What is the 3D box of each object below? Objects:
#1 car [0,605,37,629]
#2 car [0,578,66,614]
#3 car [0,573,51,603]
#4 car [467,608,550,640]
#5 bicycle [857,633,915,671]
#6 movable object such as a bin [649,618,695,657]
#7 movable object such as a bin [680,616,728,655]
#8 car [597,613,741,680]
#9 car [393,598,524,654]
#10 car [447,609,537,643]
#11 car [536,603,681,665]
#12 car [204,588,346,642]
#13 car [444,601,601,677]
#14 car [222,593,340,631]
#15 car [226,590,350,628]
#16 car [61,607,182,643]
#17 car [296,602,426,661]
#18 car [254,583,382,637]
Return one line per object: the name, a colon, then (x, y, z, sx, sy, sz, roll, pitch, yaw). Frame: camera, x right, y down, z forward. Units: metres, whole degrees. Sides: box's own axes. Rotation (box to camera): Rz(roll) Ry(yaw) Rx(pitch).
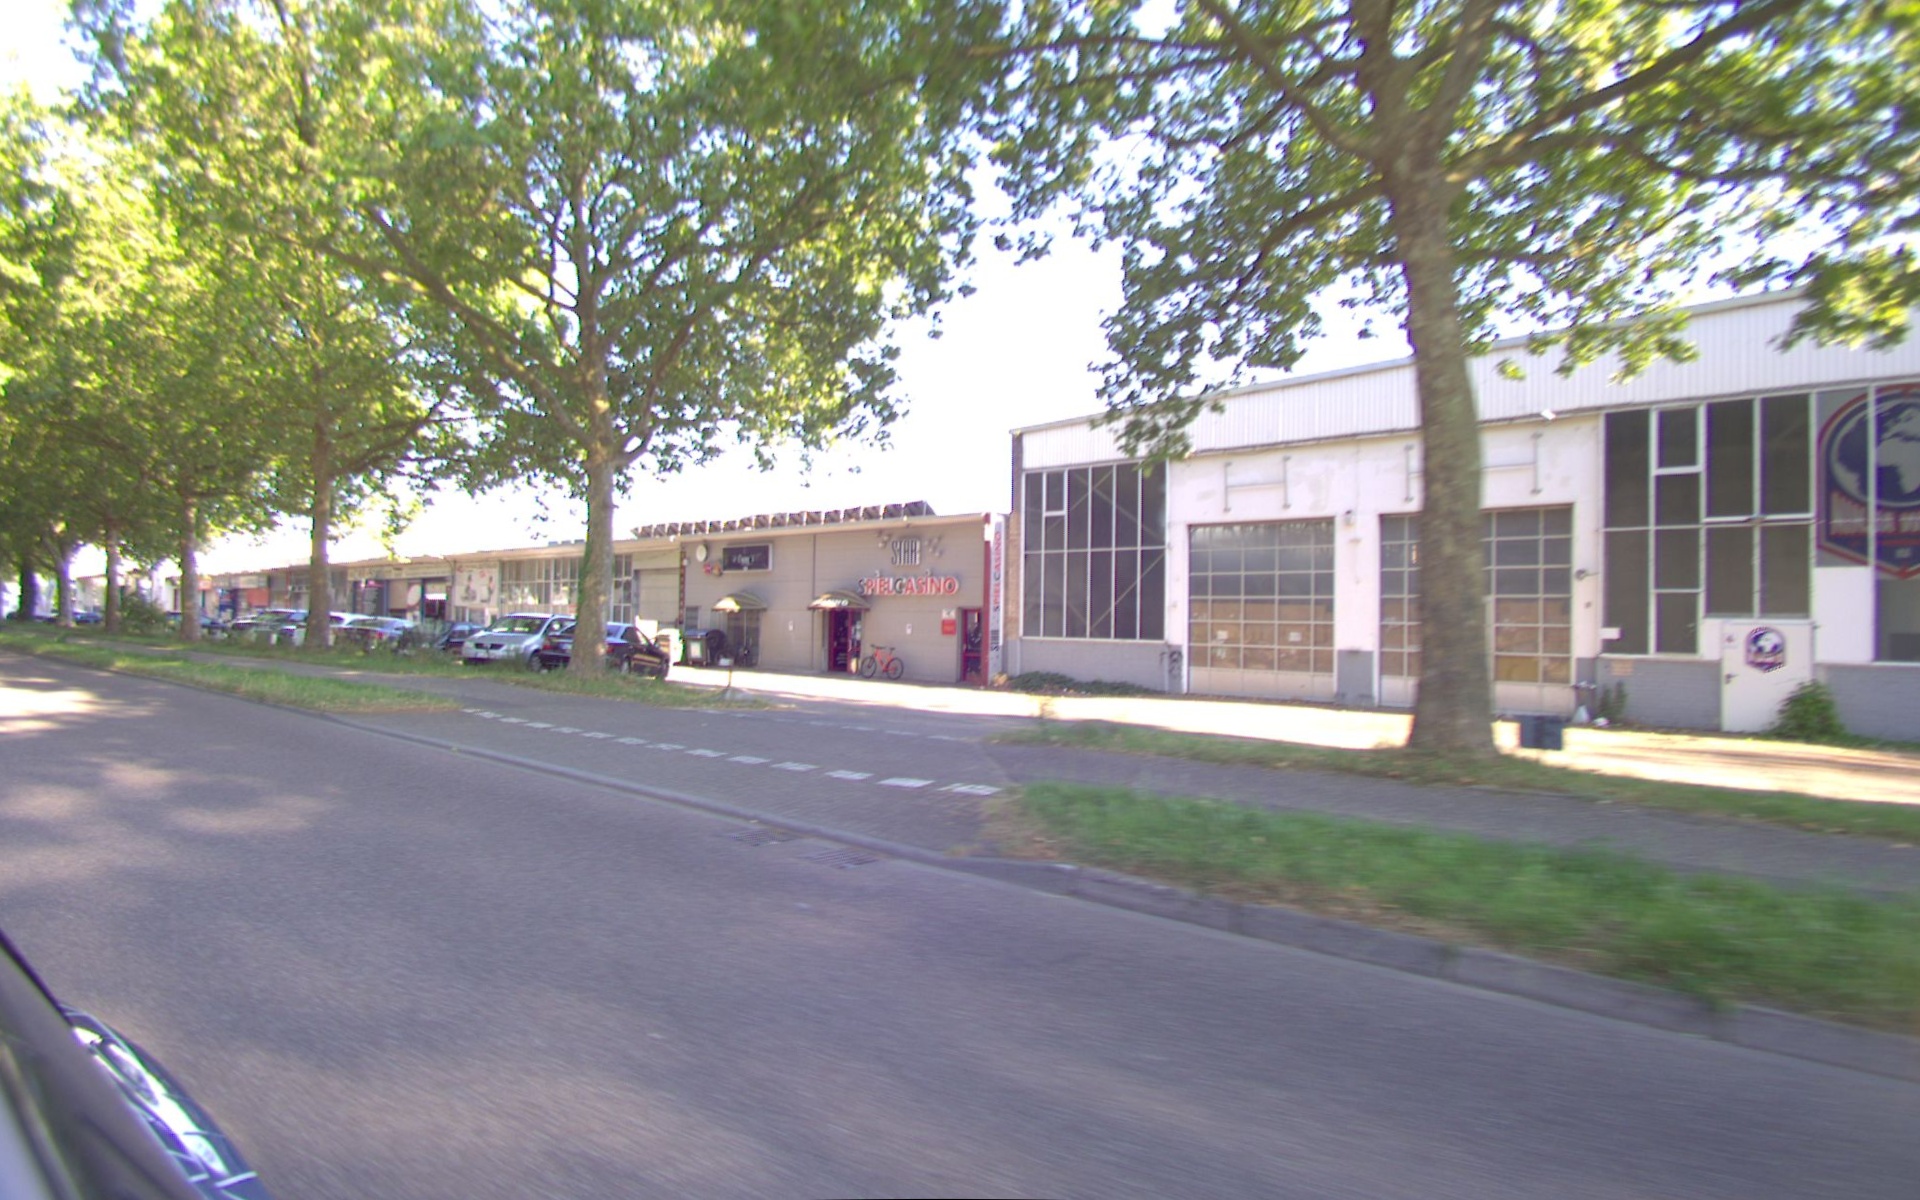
car: (-78.430, 1.370, 83.194, 1.967, 1.854, 4.259, 0, 1, -12)
car: (-86.943, -0.383, 92.990, 2.575, 2.875, 6.931, 1, -4, 12)
car: (-95.552, -1.255, 101.369, 2.574, 2.516, 6.303, 1, -4, 11)
car: (-20.615, 1.110, 46.327, 3.242, 1.395, 1.557, 0, 1, -14)
bicycle: (-2.460, 1.709, 33.445, 2.159, 1.066, 0.530, 1, 6, 42)
movable object such as a bin: (-11.429, 1.478, 40.160, 1.571, 1.442, 1.046, 1, 1, 39)
movable object such as a bin: (-10.061, 1.361, 39.749, 1.626, 1.442, 1.046, 1, 1, 39)
car: (-6.337, 0.969, 22.600, 1.972, 1.316, 4.484, 1, -1, 0)
car: (-16.234, 0.781, 33.035, 1.974, 1.641, 4.258, 1, 1, 4)
car: (-20.275, 1.115, 43.973, 3.244, 1.417, 1.713, 0, 1, -11)
car: (-8.357, 0.784, 24.507, 1.972, 1.316, 4.484, 1, -1, 0)
car: (-24.049, 0.469, 35.709, 1.977, 1.763, 3.989, 1, 1, 9)
car: (-11.327, 0.933, 26.567, 1.974, 1.743, 4.480, 1, 1, 4)
car: (-28.421, 0.454, 42.530, 1.973, 1.463, 4.259, 1, 1, 3)
car: (-26.349, 0.319, 39.875, 1.973, 1.392, 4.259, 1, 1, 3)
car: (-45.870, 1.323, 55.513, 1.983, 1.773, 4.872, 1, 1, 17)
car: (-18.720, 0.940, 31.857, 1.969, 1.641, 4.269, 1, 1, -7)
car: (-21.729, 0.288, 34.476, 1.969, 1.712, 4.268, 1, 1, -6)
